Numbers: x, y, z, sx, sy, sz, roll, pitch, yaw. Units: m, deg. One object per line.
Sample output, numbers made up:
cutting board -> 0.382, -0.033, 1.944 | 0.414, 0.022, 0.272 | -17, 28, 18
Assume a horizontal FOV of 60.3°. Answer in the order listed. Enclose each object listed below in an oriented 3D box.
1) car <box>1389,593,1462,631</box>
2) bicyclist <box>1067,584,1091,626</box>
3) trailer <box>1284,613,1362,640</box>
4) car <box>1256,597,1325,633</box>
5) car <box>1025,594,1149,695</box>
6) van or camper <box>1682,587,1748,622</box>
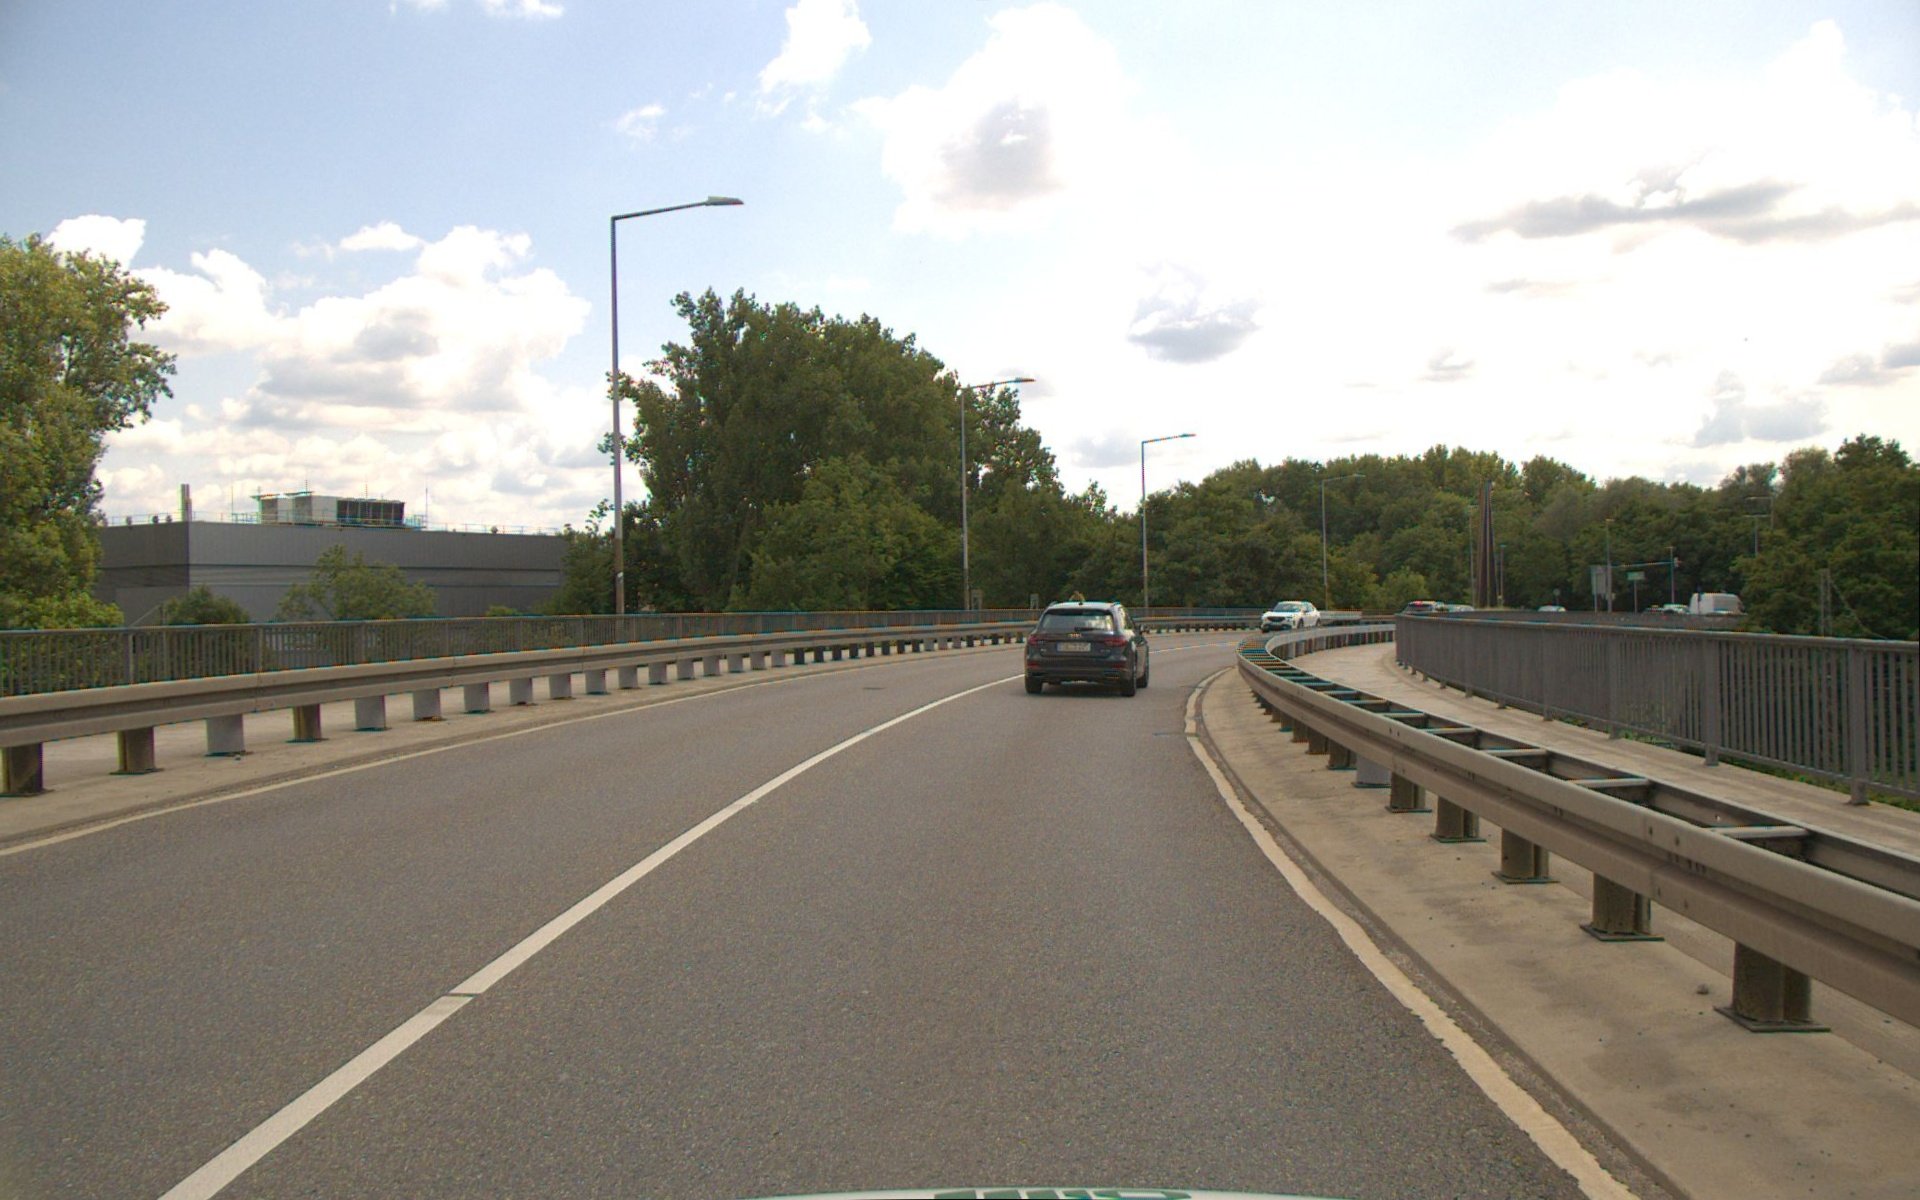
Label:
car -> 22.195, 0.569, 78.764 | 1.795, 1.680, 3.832 | 2, 1, 42
bicyclist -> 4.660, 0.184, 64.851 | 0.751, 1.630, 0.948 | 0, -1, 15
trailer -> 17.777, 1.259, 80.748 | 2.007, 1.230, 5.970 | 1, 0, 30
car -> 15.277, 0.669, 76.224 | 1.773, 1.562, 4.339 | 1, 0, 31
car -> 2.168, 0.670, 27.232 | 1.789, 1.518, 4.210 | 0, 0, 8
van or camper -> 55.374, 0.346, 121.335 | 5.187, 2.381, 2.249 | 1, 1, -38
